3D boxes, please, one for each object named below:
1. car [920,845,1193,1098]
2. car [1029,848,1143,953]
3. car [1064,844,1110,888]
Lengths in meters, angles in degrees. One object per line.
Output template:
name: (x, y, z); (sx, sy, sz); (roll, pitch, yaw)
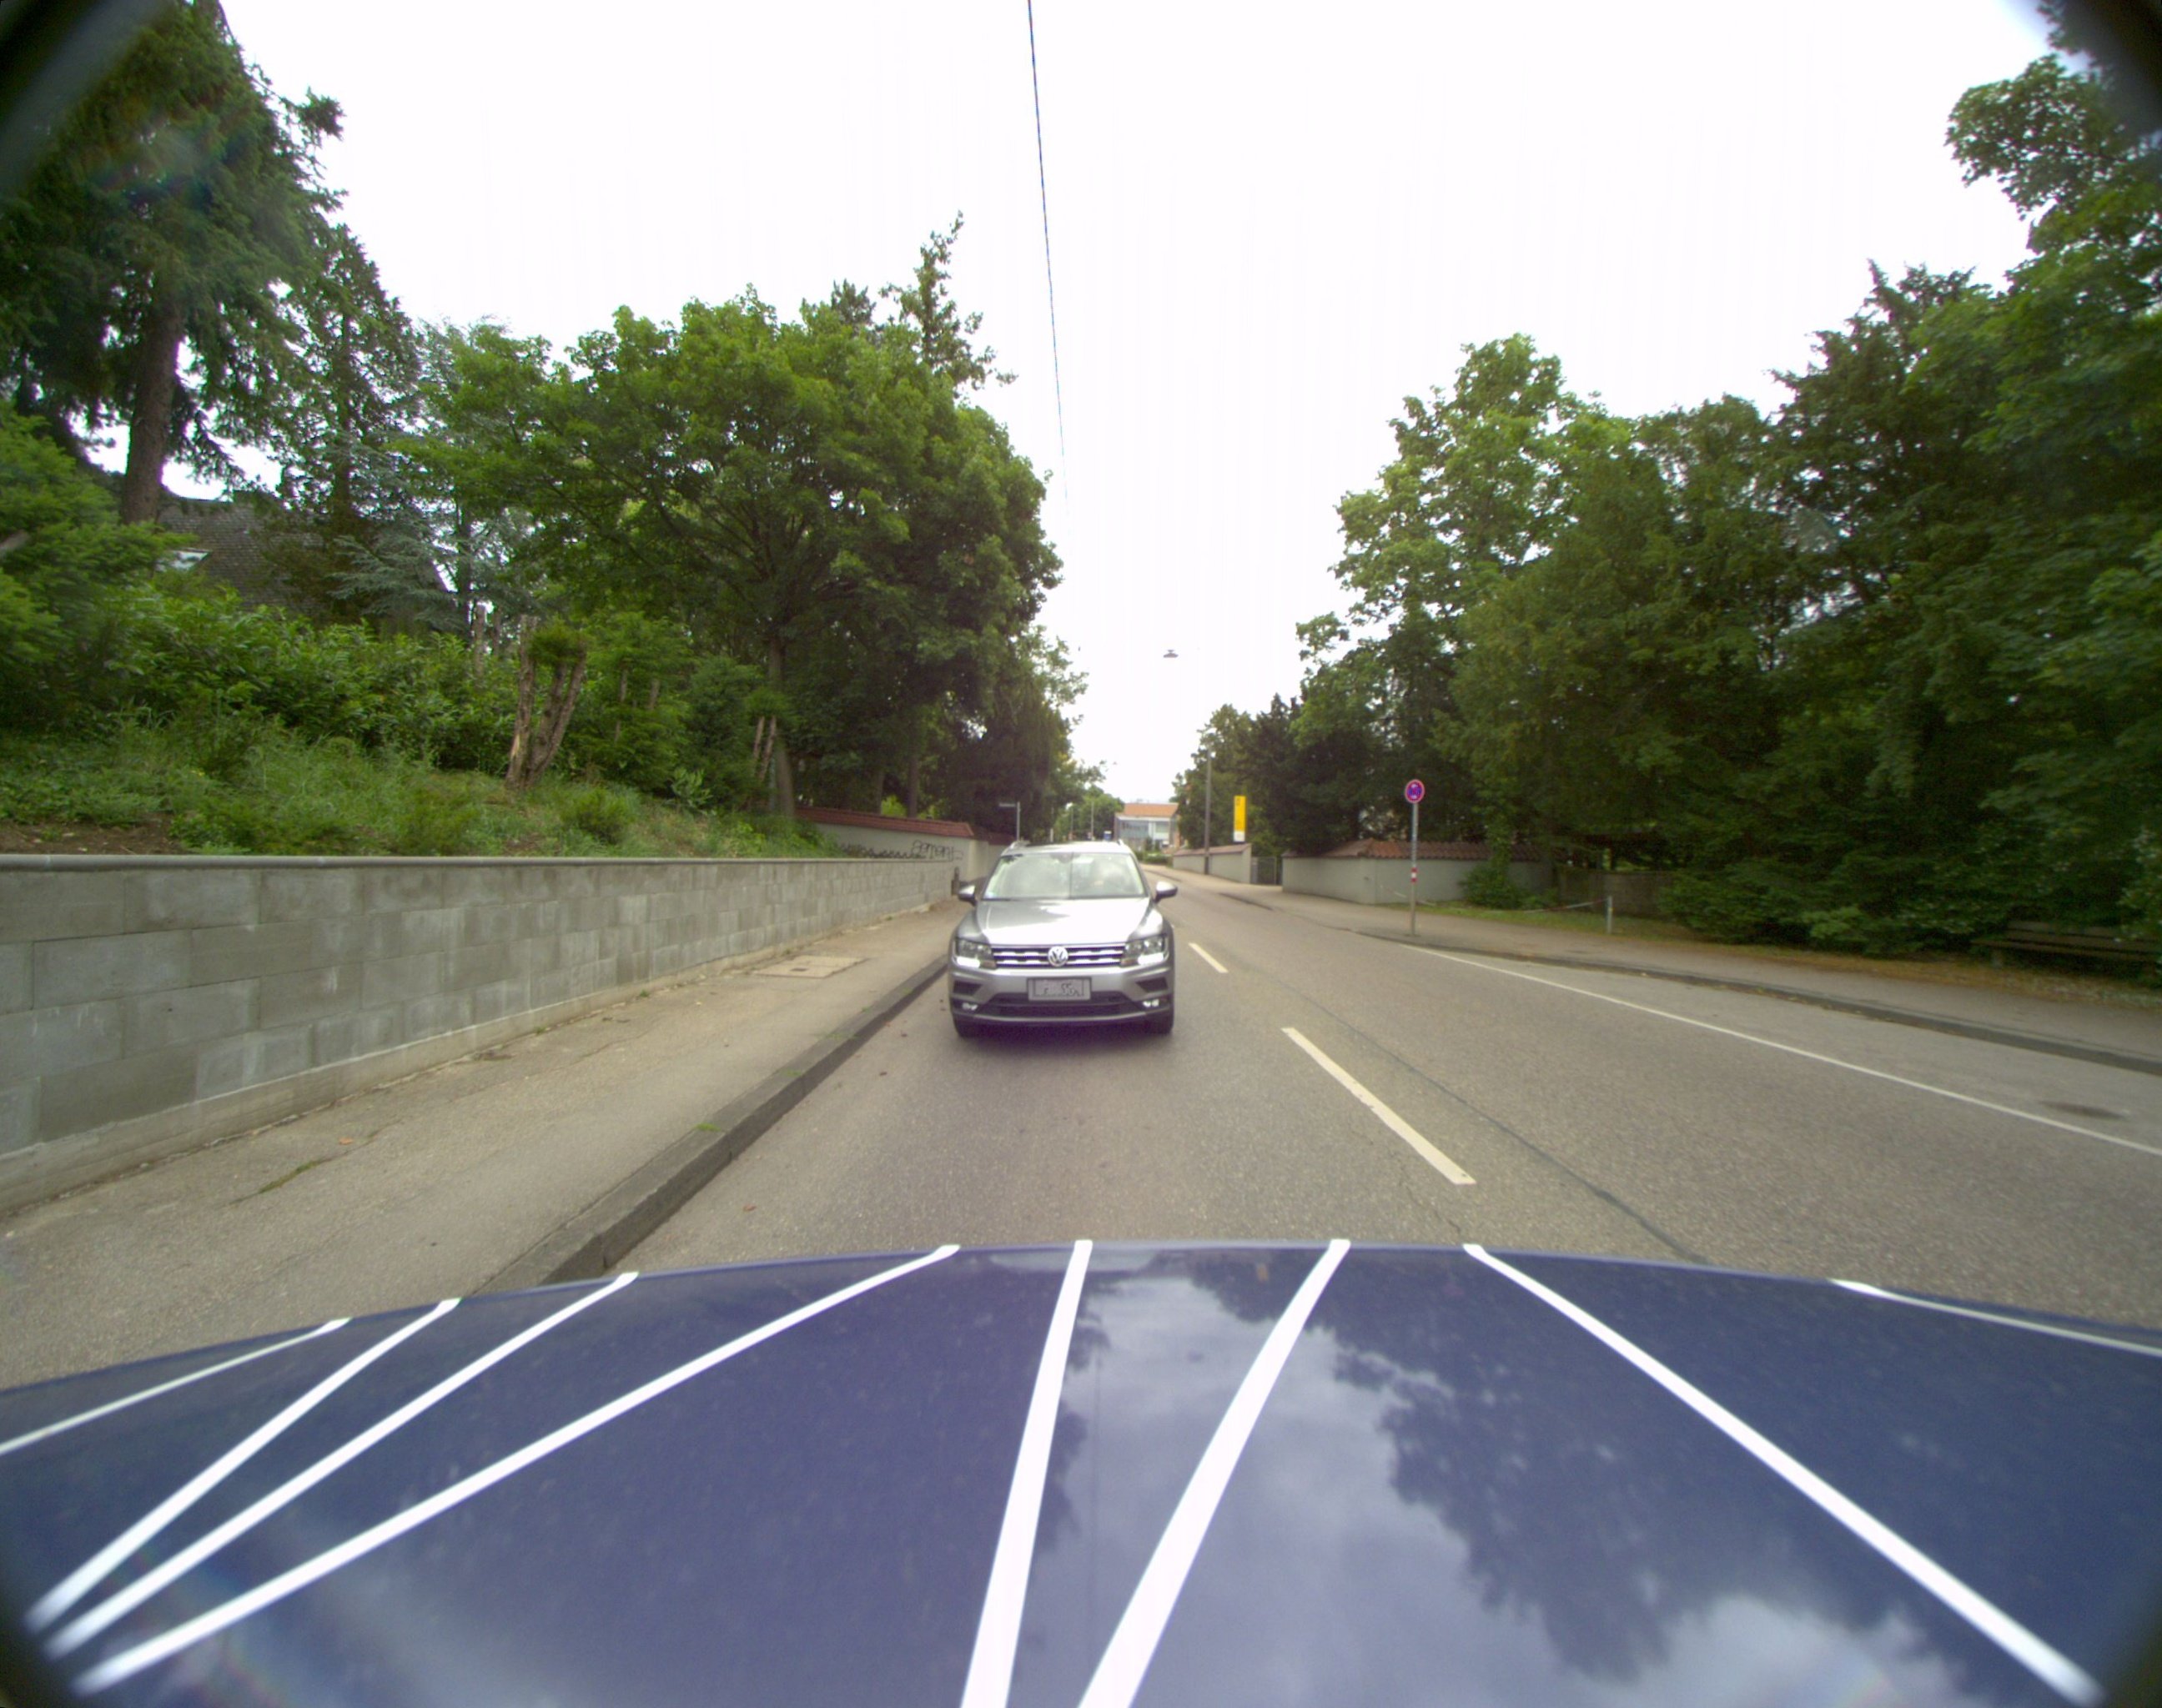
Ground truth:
car: (-0.150, 0.786, 7.527); (1.820, 1.690, 4.718); (-1, 0, 0)
car: (0.091, 0.731, 14.334); (1.820, 1.647, 4.487); (0, 1, 0)
car: (0.241, 0.451, 32.477); (1.820, 1.733, 4.487); (0, 1, 0)
